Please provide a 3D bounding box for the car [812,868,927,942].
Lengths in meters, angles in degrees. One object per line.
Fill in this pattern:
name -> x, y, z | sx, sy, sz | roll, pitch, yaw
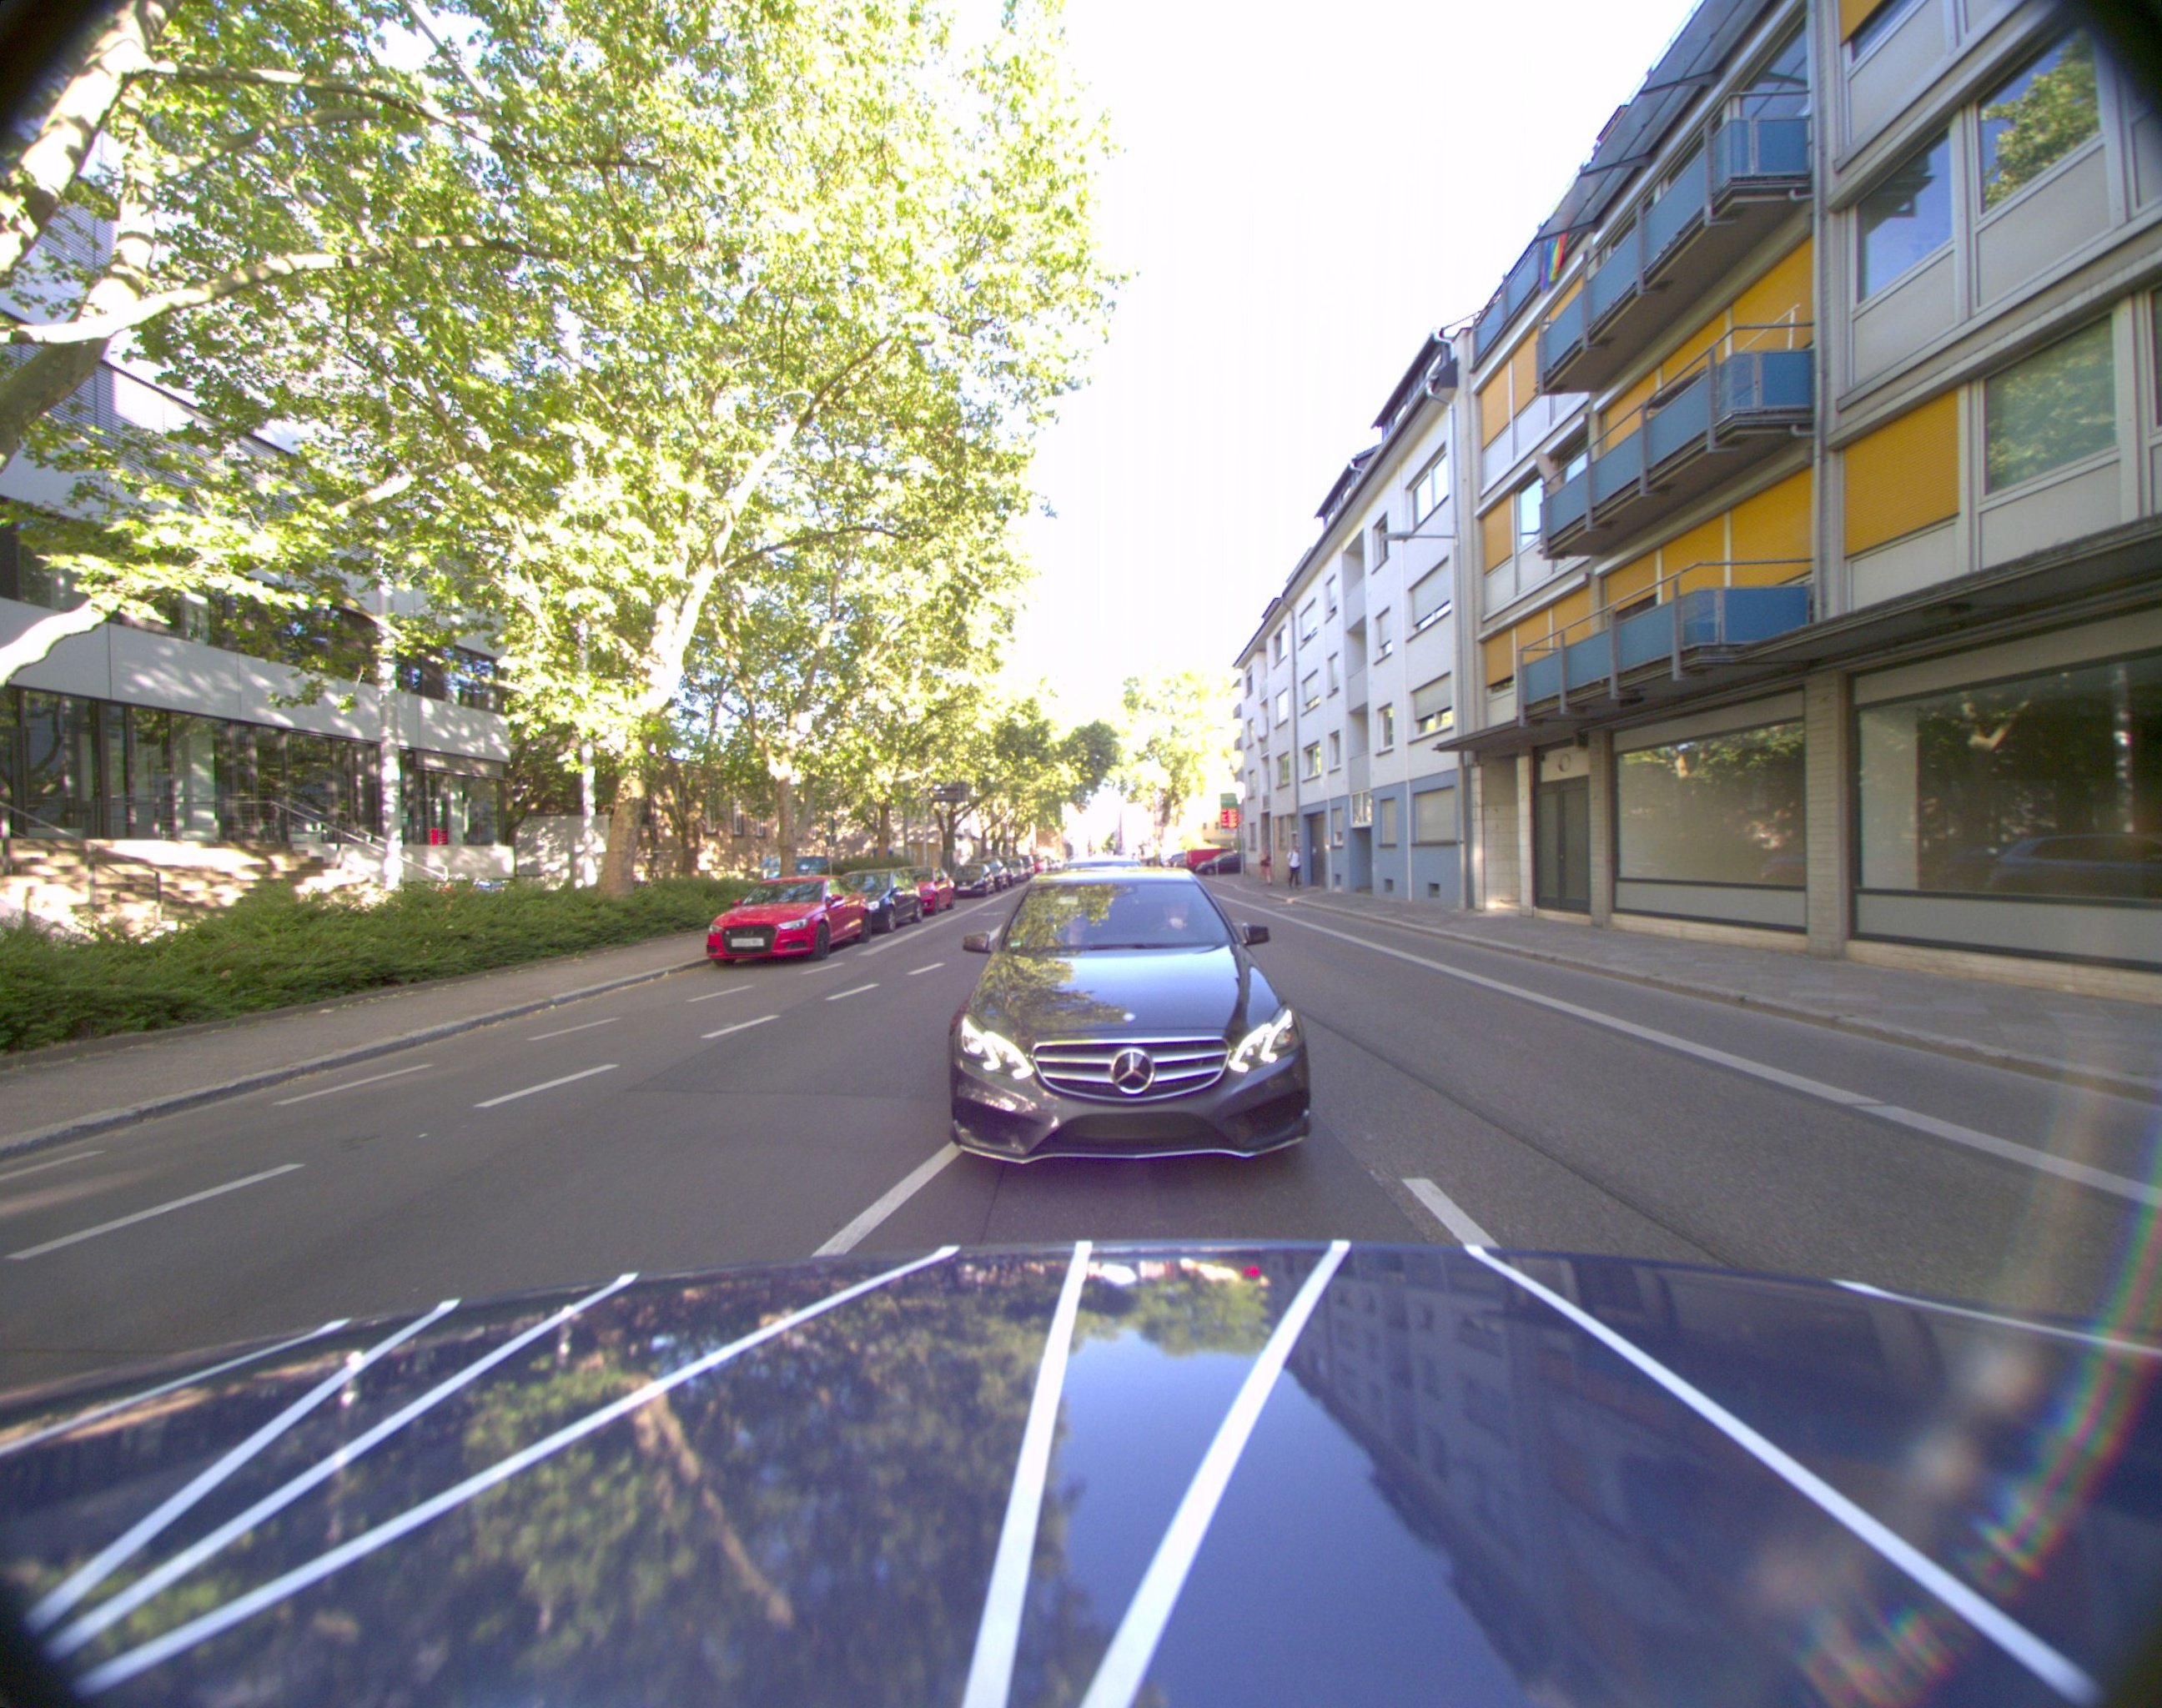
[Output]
car -> -5.001, 1.145, 18.467 | 1.635, 1.455, 3.740 | -3, 0, 1

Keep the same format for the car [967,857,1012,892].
car -> -4.532, 0.969, 38.061 | 1.635, 1.578, 3.845 | -3, 0, 1

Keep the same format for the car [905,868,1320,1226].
car -> 0.169, 0.914, 5.499 | 1.804, 1.455, 4.125 | -3, 0, 1

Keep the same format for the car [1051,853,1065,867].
car -> -3.050, 0.786, 102.833 | 1.635, 1.713, 3.673 | -3, 0, 1

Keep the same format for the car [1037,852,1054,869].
car -> -3.956, 0.713, 86.150 | 1.635, 1.713, 3.673 | -3, 0, 1

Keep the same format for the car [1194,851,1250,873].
car -> 10.111, 0.552, 54.731 | 3.670, 1.403, 1.636 | -3, 0, 1

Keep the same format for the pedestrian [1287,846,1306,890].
pedestrian -> 8.558, 0.541, 30.231 | 0.569, 1.716, 0.343 | -3, 1, 1

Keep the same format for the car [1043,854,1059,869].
car -> -3.639, 0.921, 92.553 | 1.635, 1.713, 3.673 | -3, 0, 1

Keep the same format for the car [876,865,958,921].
car -> -5.003, 1.144, 23.651 | 1.635, 1.455, 3.740 | -3, 0, 1

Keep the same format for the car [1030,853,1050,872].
car -> -3.839, 0.774, 71.729 | 1.635, 1.713, 3.673 | -3, 0, 1

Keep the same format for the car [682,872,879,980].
car -> -5.160, 1.162, 13.725 | 1.804, 1.455, 4.125 | -3, 0, 1

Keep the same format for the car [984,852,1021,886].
car -> -4.502, 0.852, 44.104 | 1.635, 1.795, 3.845 | -3, 0, 1

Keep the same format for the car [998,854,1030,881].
car -> -4.425, 0.895, 50.688 | 1.635, 1.644, 3.845 | -3, 0, 1

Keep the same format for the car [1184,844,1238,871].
car -> 10.227, 0.254, 59.957 | 3.927, 1.912, 1.636 | -3, 0, 1

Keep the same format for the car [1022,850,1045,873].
car -> -4.135, 0.637, 66.151 | 1.635, 1.878, 3.673 | -3, 0, 1

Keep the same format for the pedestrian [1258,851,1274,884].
pedestrian -> 8.453, 0.614, 34.736 | 0.569, 1.509, 0.343 | -3, 1, 1

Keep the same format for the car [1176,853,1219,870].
car -> 9.550, 0.632, 62.555 | 3.325, 1.241, 1.295 | -3, 0, 1

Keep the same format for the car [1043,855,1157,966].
car -> 0.325, 0.877, 13.839 | 1.680, 1.622, 4.125 | -3, 0, 1

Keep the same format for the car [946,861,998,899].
car -> -4.705, 1.093, 33.186 | 1.635, 1.455, 3.740 | -3, 0, 1

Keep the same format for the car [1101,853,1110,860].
car -> 4.977, 0.507, 155.416 | 1.853, 1.455, 4.099 | -3, 0, 1

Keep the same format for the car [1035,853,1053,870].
car -> -3.943, 0.756, 82.073 | 1.635, 1.713, 3.673 | -3, 0, 1

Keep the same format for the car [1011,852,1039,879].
car -> -4.076, 0.826, 55.599 | 1.635, 1.799, 3.673 | -3, 0, 1

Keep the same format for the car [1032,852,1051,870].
car -> -3.991, 0.712, 78.075 | 1.635, 1.713, 3.673 | -3, 0, 1
